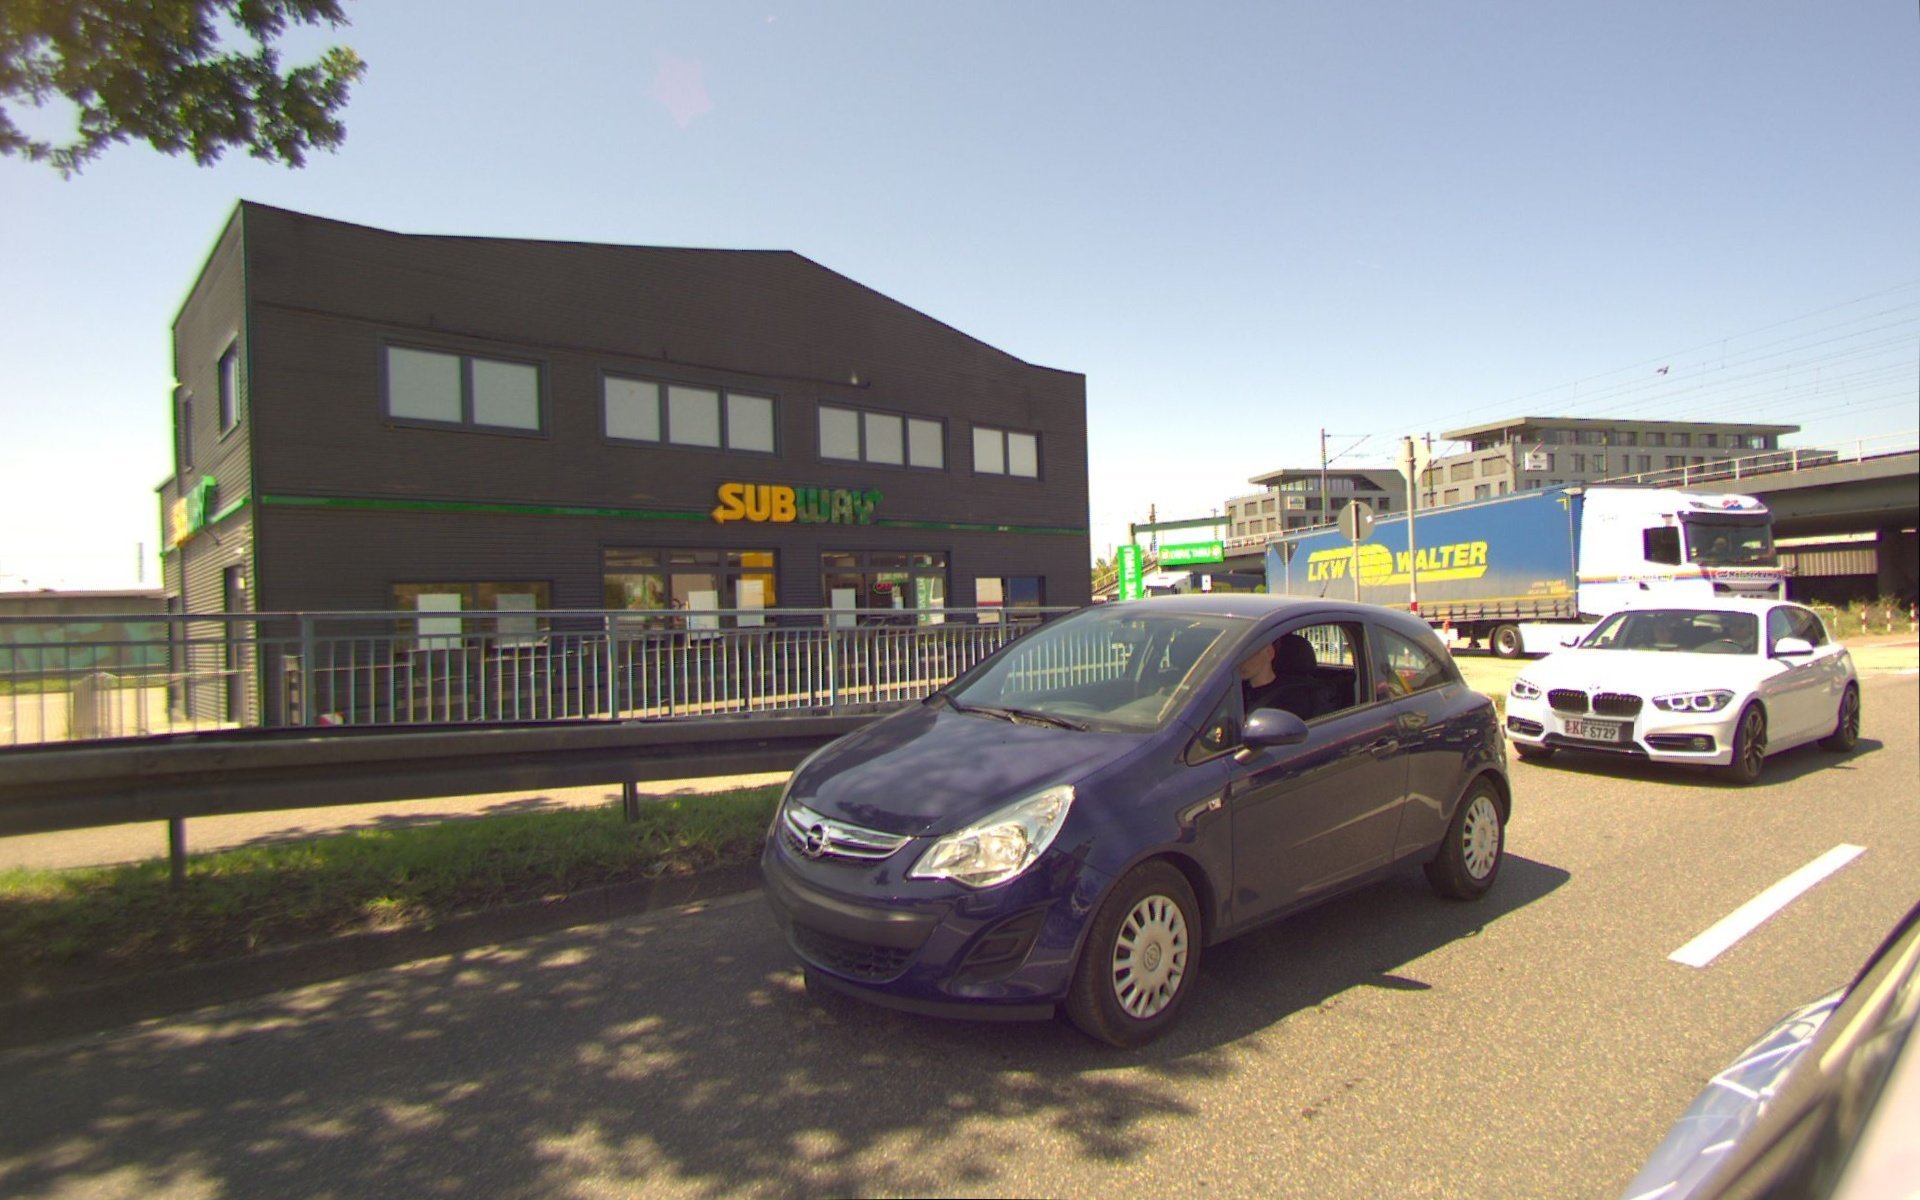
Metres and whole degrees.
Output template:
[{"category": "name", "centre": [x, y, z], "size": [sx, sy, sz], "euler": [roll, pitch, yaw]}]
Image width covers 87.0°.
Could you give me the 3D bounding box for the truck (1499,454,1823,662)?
[{"category": "truck", "centre": [15.687, -0.816, 23.237], "size": [2.522, 4.154, 5.772], "euler": [-1, -1, -14]}]

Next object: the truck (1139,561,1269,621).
[{"category": "truck", "centre": [19.195, -0.749, 78.109], "size": [2.738, 4.155, 17.202], "euler": [-1, 0, 38]}]

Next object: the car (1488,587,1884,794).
[{"category": "car", "centre": [6.690, 0.628, 9.200], "size": [3.977, 1.461, 1.764], "euler": [-1, 2, -36]}]

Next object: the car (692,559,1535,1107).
[{"category": "car", "centre": [0.931, 0.623, 4.574], "size": [3.821, 1.462, 1.649], "euler": [0, -1, -40]}]

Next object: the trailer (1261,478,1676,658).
[{"category": "trailer", "centre": [13.932, -0.653, 30.364], "size": [2.448, 4.142, 13.930], "euler": [-1, -1, -14]}]
